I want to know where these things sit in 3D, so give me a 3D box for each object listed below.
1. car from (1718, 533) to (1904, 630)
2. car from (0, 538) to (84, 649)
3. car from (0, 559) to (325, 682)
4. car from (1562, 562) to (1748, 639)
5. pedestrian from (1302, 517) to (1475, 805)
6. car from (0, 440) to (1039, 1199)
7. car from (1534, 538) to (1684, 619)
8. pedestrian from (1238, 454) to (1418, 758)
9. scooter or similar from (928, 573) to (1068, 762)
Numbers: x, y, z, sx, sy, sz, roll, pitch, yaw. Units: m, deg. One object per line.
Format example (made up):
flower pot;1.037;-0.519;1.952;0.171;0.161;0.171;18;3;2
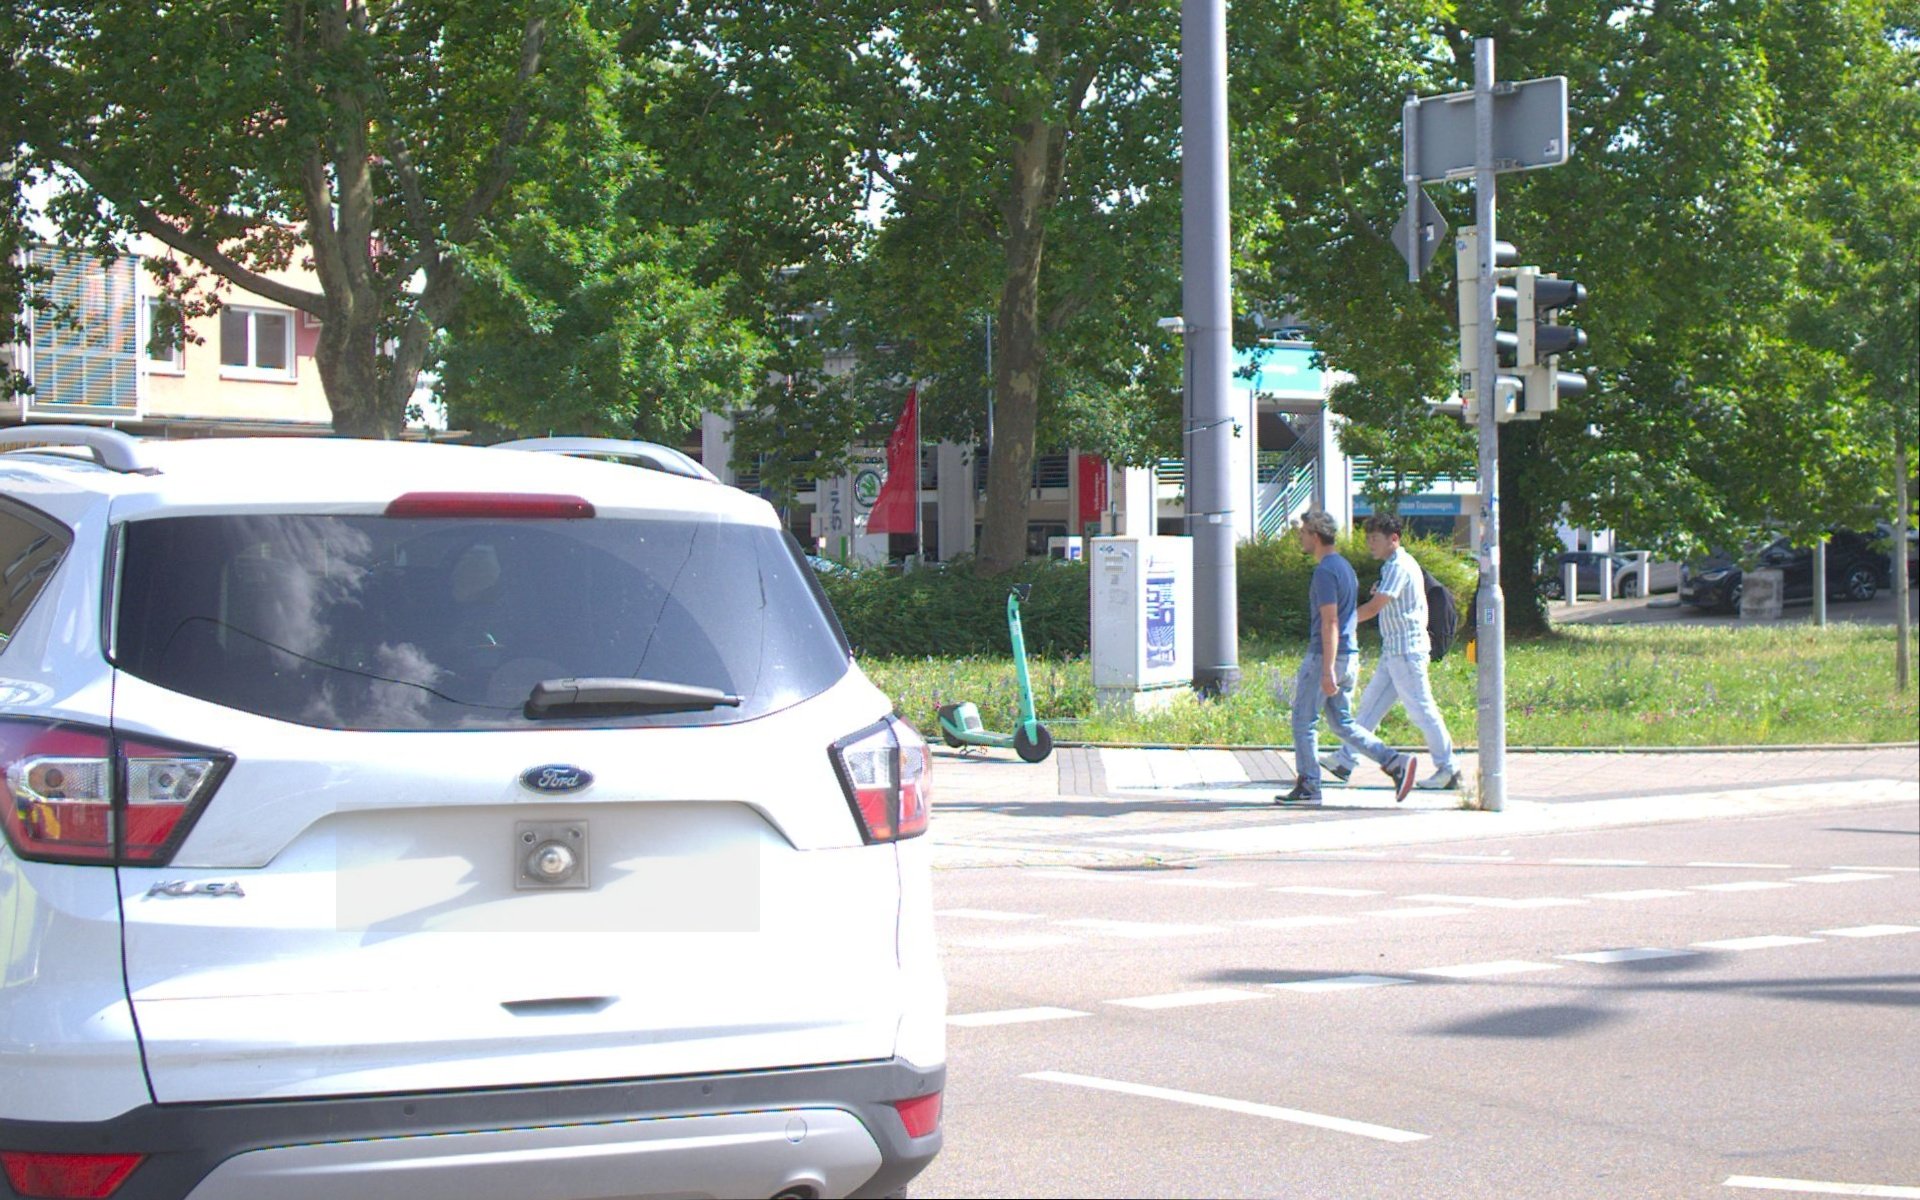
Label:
car;17.913;-0.374;72.214;1.971;1.930;5.058;-1;-1;36
car;-14.449;-0.109;48.023;3.991;1.490;1.801;0;1;22
car;-9.624;0.249;41.402;1.908;1.408;3.994;0;0;25
car;16.576;0.020;82.126;1.837;1.784;3.997;0;-1;-45
pedestrian;2.673;0.363;21.403;0.924;1.737;0.589;2;2;18
car;-1.554;0.569;7.047;1.827;1.658;3.956;-1;1;-26
car;14.699;-0.471;78.104;1.835;1.784;4.001;0;0;-14
pedestrian;2.171;0.023;20.241;0.924;1.737;0.589;2;2;15
scooter or similar;0.242;0.436;22.952;0.398;1.189;1.175;1;2;-27
